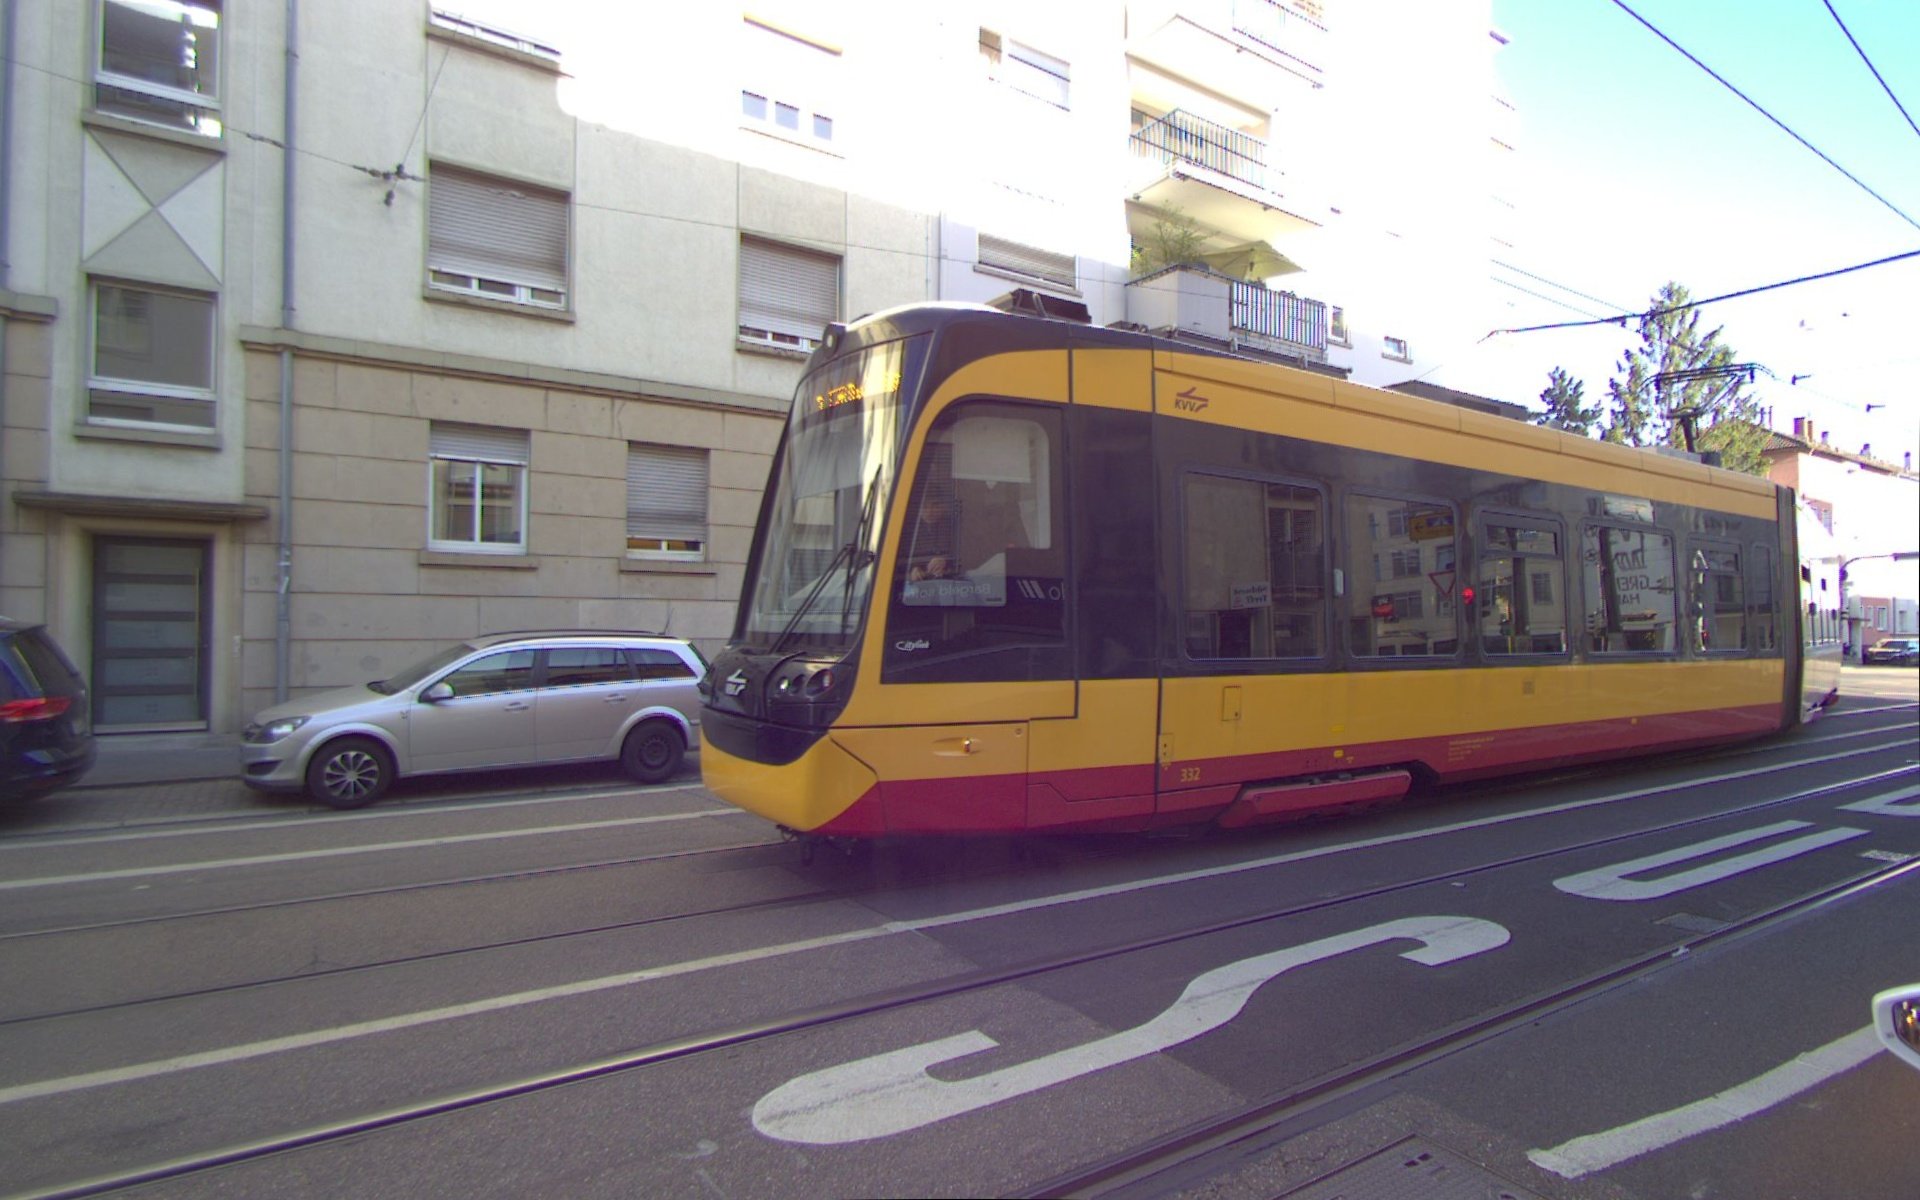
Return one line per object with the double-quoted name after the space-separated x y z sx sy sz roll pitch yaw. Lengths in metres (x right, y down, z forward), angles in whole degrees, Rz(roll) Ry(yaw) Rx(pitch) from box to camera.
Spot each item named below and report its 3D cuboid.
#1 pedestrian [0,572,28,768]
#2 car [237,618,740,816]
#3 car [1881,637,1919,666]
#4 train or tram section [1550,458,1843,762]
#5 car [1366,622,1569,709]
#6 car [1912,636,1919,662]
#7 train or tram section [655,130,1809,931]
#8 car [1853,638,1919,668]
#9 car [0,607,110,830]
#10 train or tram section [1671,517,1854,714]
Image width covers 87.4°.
-9.498 0.648 9.589 0.725 1.857 0.595 2 0 -30 "pedestrian"
-4.690 1.036 10.324 4.319 1.580 1.981 2 0 -34 "car"
53.499 2.884 56.123 4.250 1.518 1.806 2 0 -30 "car"
12.392 0.190 16.430 2.794 3.679 9.032 2 0 43 "train or tram section"
10.000 1.225 19.730 4.030 1.552 1.858 1 -2 -34 "car"
58.214 2.954 59.395 4.103 1.531 1.778 2 0 -31 "car"
3.853 -0.131 9.380 12.502 3.641 3.043 2 -2 -35 "train or tram section"
49.573 2.823 53.562 3.949 1.440 1.784 2 0 -31 "car"
-9.055 0.839 7.235 4.249 1.606 1.893 2 0 -35 "car"
20.197 0.428 25.047 2.713 3.680 14.196 2 0 40 "train or tram section"
